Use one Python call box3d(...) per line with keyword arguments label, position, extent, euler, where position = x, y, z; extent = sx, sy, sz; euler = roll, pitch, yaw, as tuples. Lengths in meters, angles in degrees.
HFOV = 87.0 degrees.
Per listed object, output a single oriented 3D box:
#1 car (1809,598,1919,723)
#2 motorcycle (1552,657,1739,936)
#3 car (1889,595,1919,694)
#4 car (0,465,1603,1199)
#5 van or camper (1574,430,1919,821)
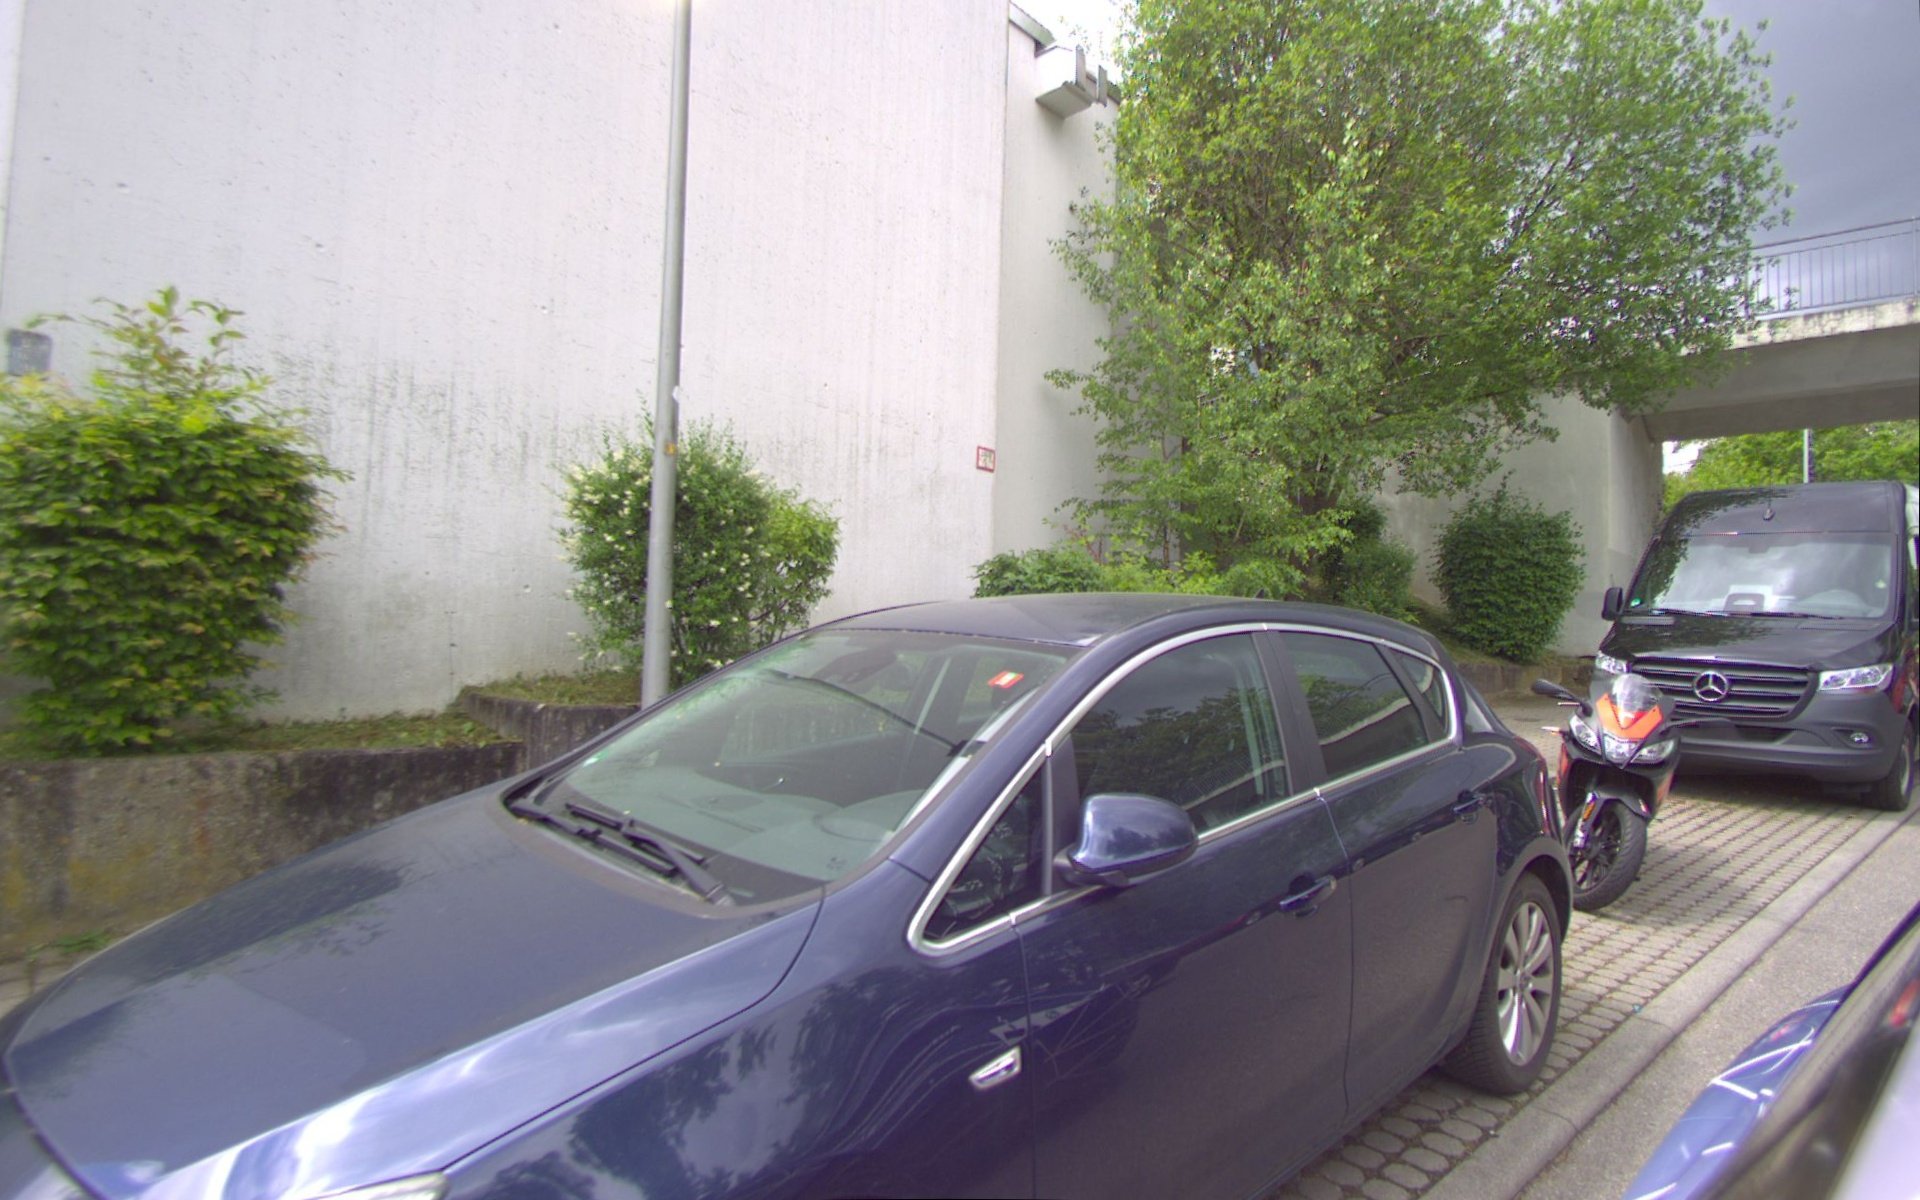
box3d(label="car", position=(12.598, 0.713, 13.298), extent=(3.655, 1.468, 1.586), euler=(0, 0, -40))
box3d(label="motorcycle", position=(3.684, 0.909, 5.372), extent=(0.706, 1.081, 1.904), euler=(0, 0, 38))
box3d(label="car", position=(16.303, 0.677, 16.227), extent=(3.655, 1.506, 1.604), euler=(0, 0, -40))
box3d(label="car", position=(0.067, 0.612, 2.621), extent=(3.931, 1.438, 1.693), euler=(0, 0, -42))
box3d(label="van or camper", position=(7.716, 0.143, 9.132), extent=(5.655, 2.527, 1.998), euler=(0, 0, -40))
